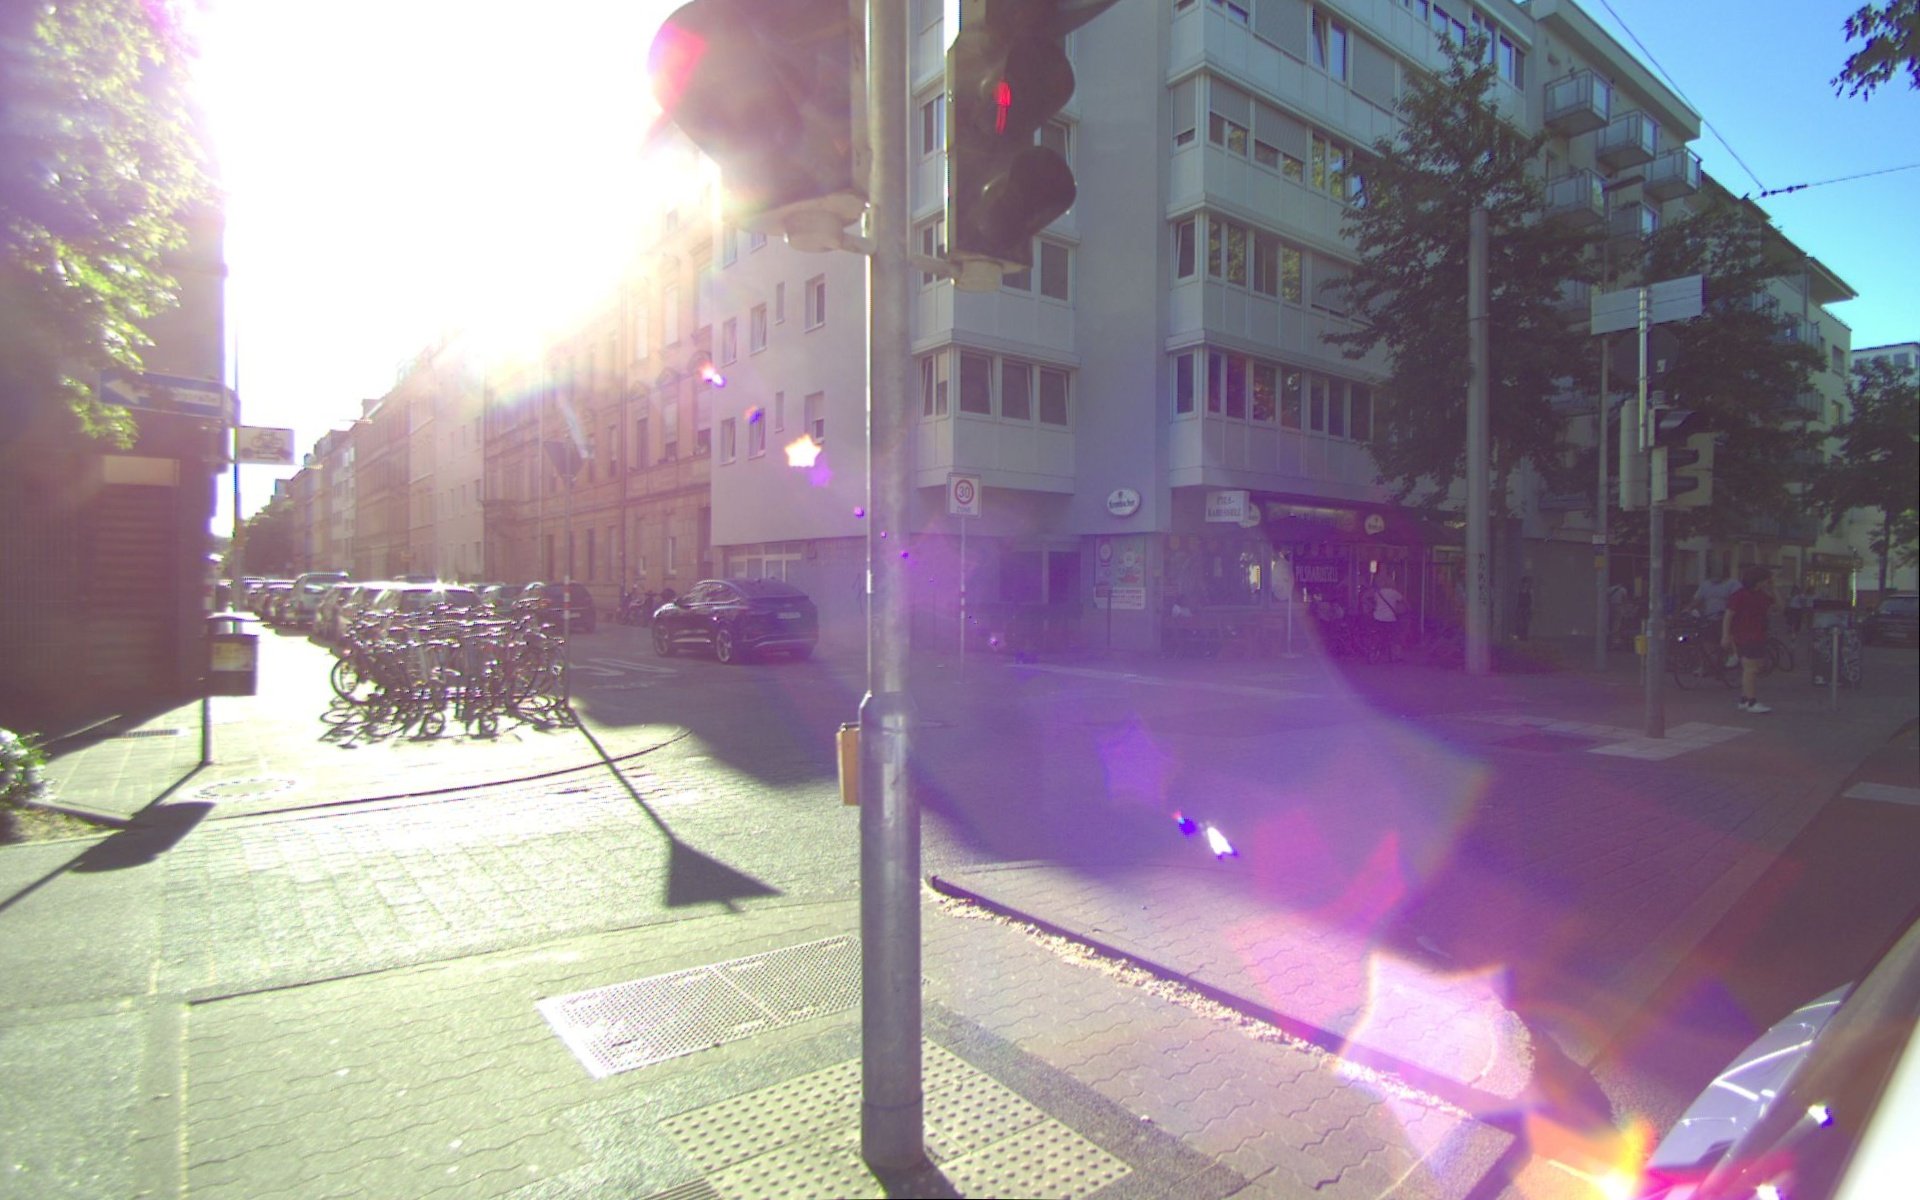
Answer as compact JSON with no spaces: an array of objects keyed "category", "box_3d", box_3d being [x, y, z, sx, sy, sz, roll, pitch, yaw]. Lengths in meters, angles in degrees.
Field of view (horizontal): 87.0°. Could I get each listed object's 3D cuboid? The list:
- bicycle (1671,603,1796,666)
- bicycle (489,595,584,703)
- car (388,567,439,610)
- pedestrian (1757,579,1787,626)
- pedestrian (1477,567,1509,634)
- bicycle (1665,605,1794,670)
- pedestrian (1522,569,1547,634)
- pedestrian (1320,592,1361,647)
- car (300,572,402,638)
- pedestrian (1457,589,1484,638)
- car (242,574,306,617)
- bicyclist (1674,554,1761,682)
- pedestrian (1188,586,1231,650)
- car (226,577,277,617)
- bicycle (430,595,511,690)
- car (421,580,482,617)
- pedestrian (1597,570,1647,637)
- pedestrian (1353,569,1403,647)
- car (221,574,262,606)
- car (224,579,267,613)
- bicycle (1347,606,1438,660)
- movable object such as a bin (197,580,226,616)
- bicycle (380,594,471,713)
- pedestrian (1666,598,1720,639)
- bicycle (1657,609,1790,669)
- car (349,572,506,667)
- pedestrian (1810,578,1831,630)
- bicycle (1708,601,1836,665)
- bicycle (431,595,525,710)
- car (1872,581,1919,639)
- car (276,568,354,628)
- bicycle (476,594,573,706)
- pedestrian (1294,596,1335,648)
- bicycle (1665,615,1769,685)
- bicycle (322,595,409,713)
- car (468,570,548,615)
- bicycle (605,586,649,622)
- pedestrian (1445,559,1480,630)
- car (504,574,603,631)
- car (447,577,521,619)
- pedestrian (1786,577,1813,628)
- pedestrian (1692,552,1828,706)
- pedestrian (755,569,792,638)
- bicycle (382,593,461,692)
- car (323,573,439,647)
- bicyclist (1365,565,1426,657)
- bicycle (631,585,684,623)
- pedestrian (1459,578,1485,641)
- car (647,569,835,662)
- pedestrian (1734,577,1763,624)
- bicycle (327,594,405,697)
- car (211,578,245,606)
[{"category":"bicycle","box_3d":[14.433,0.627,18.923,1.815,1.114,0.473,-1,0,45]},{"category":"bicycle","box_3d":[-5.330,0.566,12.682,0.502,1.223,1.917,1,0,-41]},{"category":"car","box_3d":[-26.126,-0.534,48.321,1.706,1.971,4.227,-1,0,-34]},{"category":"pedestrian","box_3d":[29.500,0.078,36.779,0.854,1.658,0.643,0,2,-40]},{"category":"pedestrian","box_3d":[14.895,0.012,28.300,0.620,1.828,0.526,-1,0,5]},{"category":"bicycle","box_3d":[14.018,0.658,18.471,1.815,1.114,0.490,-1,0,45]},{"category":"pedestrian","box_3d":[16.198,0.041,28.541,0.480,1.819,0.432,-1,0,-39]},{"category":"pedestrian","box_3d":[8.320,0.419,22.137,0.512,1.190,0.660,-1,0,-40]},{"category":"car","box_3d":[-16.355,0.118,27.087,1.803,1.643,4.068,-1,0,-39]},{"category":"pedestrian","box_3d":[13.642,0.362,27.038,0.502,1.292,0.623,-1,0,15]},{"category":"car","box_3d":[-28.321,-0.190,41.753,1.860,1.660,3.995,-1,0,-39]},{"category":"bicyclist","box_3d":[11.443,0.247,15.289,1.079,1.854,0.769,-1,0,-38]},{"category":"pedestrian","box_3d":[5.230,0.362,21.228,0.702,1.303,0.537,-1,0,-37]},{"category":"car","box_3d":[-37.975,-0.161,54.230,1.964,2.039,3.995,-1,0,-39]},{"category":"bicycle","box_3d":[-6.730,0.543,13.861,0.502,1.223,1.917,1,-1,-41]},{"category":"car","box_3d":[-21.070,-0.082,41.845,1.761,1.436,4.001,-1,0,-34]},{"category":"pedestrian","box_3d":[18.195,0.092,27.821,0.980,1.807,0.590,-1,0,13]},{"category":"pedestrian","box_3d":[9.280,0.169,22.472,0.665,1.680,0.816,-1,0,-11]},{"category":"car","box_3d":[-48.106,-0.652,67.745,1.964,2.039,3.995,-1,0,-39]},{"category":"car","box_3d":[-44.347,-0.234,62.782,1.964,2.039,3.995,-1,0,-39]},{"category":"bicycle","box_3d":[8.371,0.615,19.558,1.984,0.975,0.679,-1,0,-36]},{"category":"movable object such as a bin","box_3d":[-30.103,-0.092,40.715,0.852,1.406,0.853,-1,0,-41]},{"category":"bicycle","box_3d":[-6.156,0.564,11.607,0.502,1.223,1.917,0,1,-41]},{"category":"pedestrian","box_3d":[19.167,0.465,26.475,0.649,1.040,1.000,-1,0,-40]},{"category":"bicycle","box_3d":[13.469,0.665,17.900,0.473,1.007,1.819,-1,0,-40]},{"category":"car","box_3d":[-9.941,0.289,18.709,1.836,1.496,4.599,2,0,-37]},{"category":"pedestrian","box_3d":[31.601,0.141,37.158,0.652,1.875,0.476,0,0,-41]},{"category":"bicycle","box_3d":[15.279,0.597,19.079,0.516,1.114,1.820,-1,1,-38]},{"category":"bicycle","box_3d":[-5.700,0.570,11.911,0.502,1.223,1.917,0,1,-41]},{"category":"car","box_3d":[29.084,0.277,30.416,4.251,1.606,1.764,-1,4,-39]},{"category":"car","box_3d":[-21.012,-0.075,32.936,1.692,1.839,3.559,-1,0,-40]},{"category":"bicycle","box_3d":[-5.303,0.564,12.255,0.502,1.223,1.917,1,0,-41]},{"category":"pedestrian","box_3d":[7.602,0.456,21.685,0.512,1.092,0.643,-1,0,-40]},{"category":"bicycle","box_3d":[11.450,0.723,15.288,1.904,0.949,0.790,-1,0,-38]},{"category":"bicycle","box_3d":[-6.743,0.568,11.433,0.502,1.223,1.917,-1,0,-41]},{"category":"car","box_3d":[-15.353,-0.258,34.293,1.829,1.436,4.001,-1,0,-34]},{"category":"bicycle","box_3d":[-11.024,0.124,33.466,0.606,1.134,2.387,-1,0,-38]},{"category":"pedestrian","box_3d":[14.106,-0.156,28.425,0.776,1.979,0.508,-1,0,-29]},{"category":"car","box_3d":[-12.174,0.024,30.176,1.927,1.575,4.001,-1,1,-34]},{"category":"car","box_3d":[-18.079,-0.079,38.348,1.962,1.469,4.001,-1,0,-34]},{"category":"pedestrian","box_3d":[31.191,0.078,37.607,0.530,1.875,0.663,0,0,-39]},{"category":"pedestrian","box_3d":[9.730,0.328,12.327,0.861,1.780,1.048,-1,0,-32]},{"category":"pedestrian","box_3d":[-4.347,0.073,23.604,0.632,1.581,0.553,-2,0,-34]},{"category":"bicycle","box_3d":[-7.176,0.535,13.455,0.502,1.223,1.917,-1,0,-41]},{"category":"car","box_3d":[-13.216,0.206,22.987,1.677,1.528,3.995,-1,0,-39]},{"category":"bicyclist","box_3d":[8.469,0.201,19.663,0.947,1.739,0.679,-1,0,-36]},{"category":"bicycle","box_3d":[-9.393,0.117,31.338,0.756,1.134,2.387,-1,0,-38]},{"category":"pedestrian","box_3d":[13.622,0.249,26.920,0.500,1.649,0.516,-1,0,14]},{"category":"car","box_3d":[-4.433,0.252,20.039,1.932,1.612,4.258,-2,1,-38]},{"category":"pedestrian","box_3d":[29.061,0.018,37.293,0.918,1.698,0.597,-1,3,-40]},{"category":"bicycle","box_3d":[-7.665,0.550,13.023,0.502,1.223,1.917,-1,1,-41]},{"category":"car","box_3d":[-56.806,-0.611,78.507,1.964,2.039,3.995,-1,0,-39]}]
